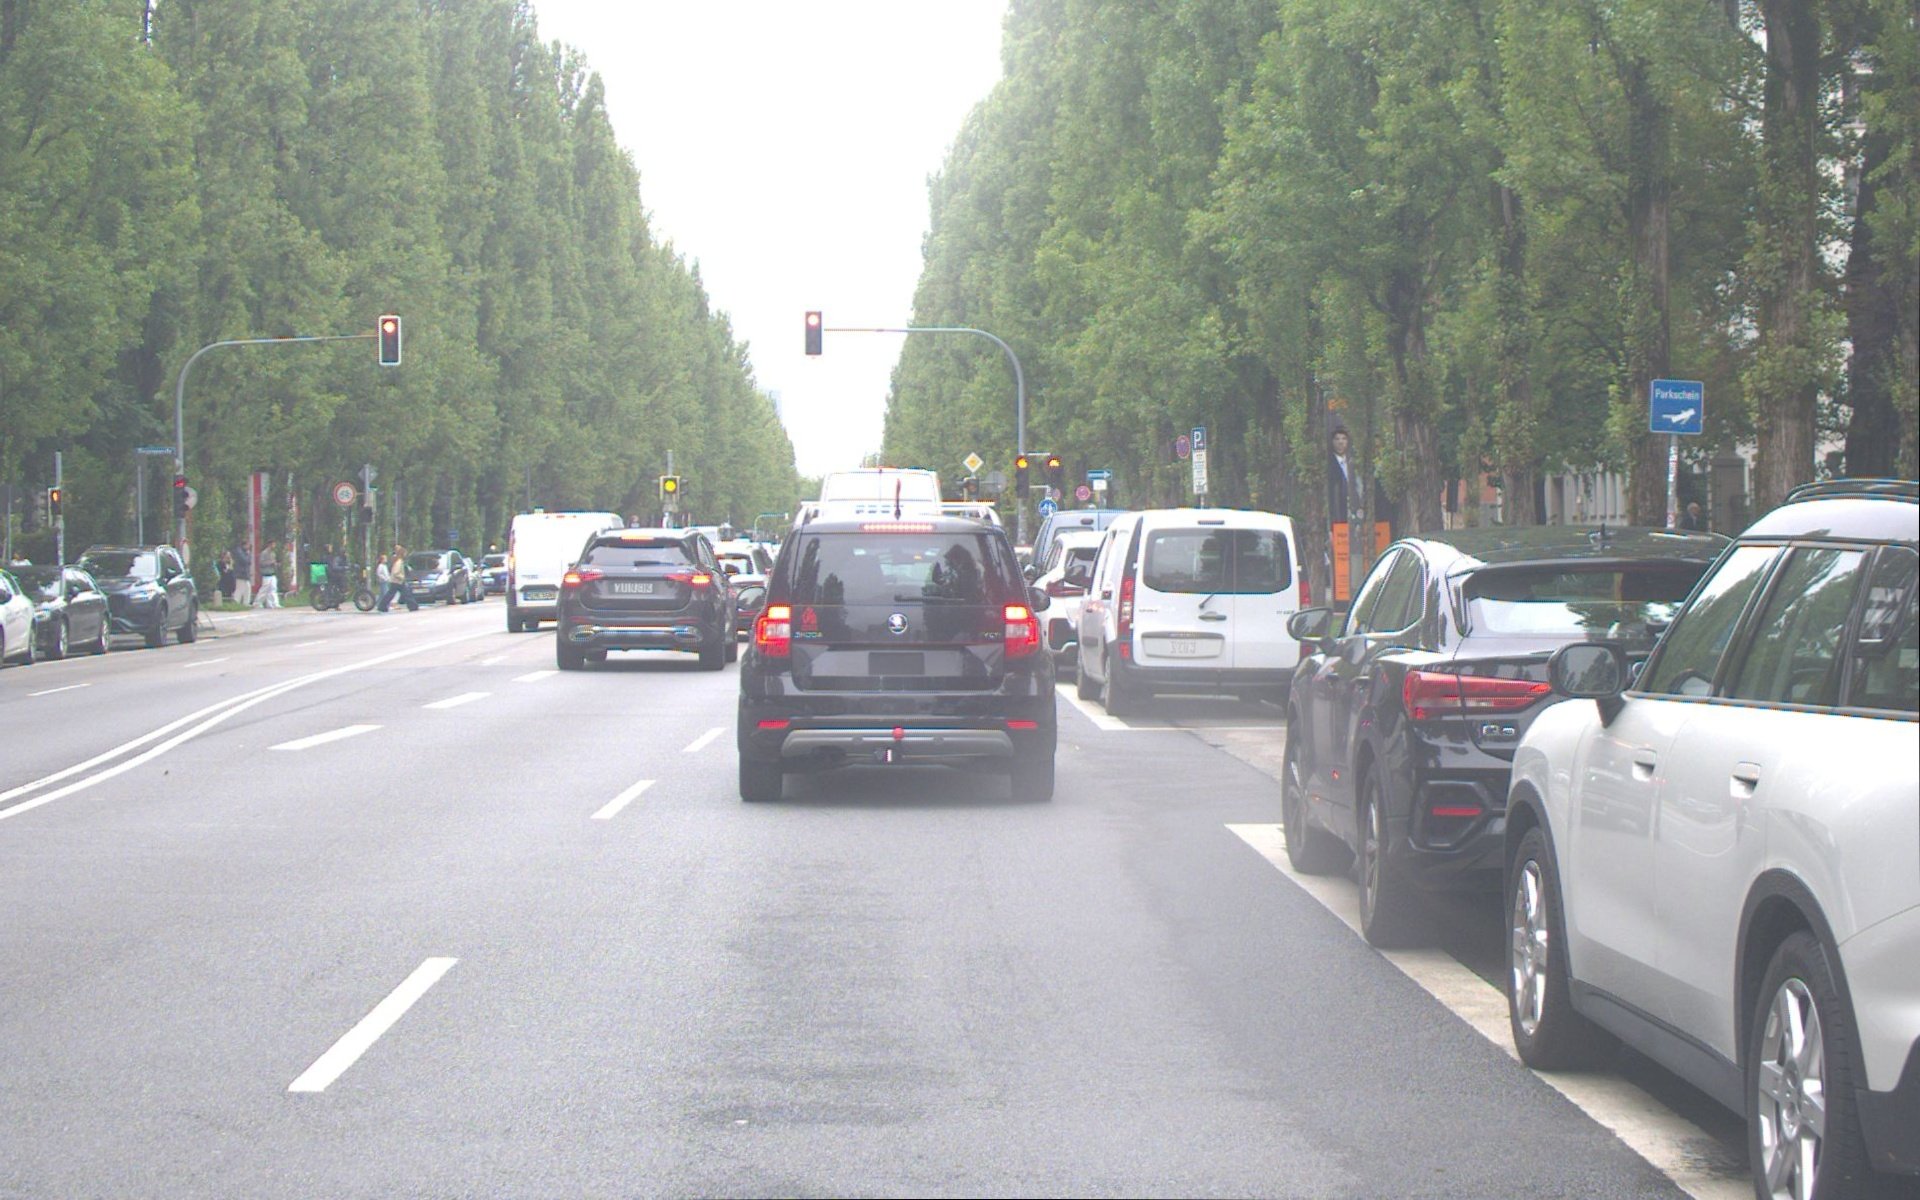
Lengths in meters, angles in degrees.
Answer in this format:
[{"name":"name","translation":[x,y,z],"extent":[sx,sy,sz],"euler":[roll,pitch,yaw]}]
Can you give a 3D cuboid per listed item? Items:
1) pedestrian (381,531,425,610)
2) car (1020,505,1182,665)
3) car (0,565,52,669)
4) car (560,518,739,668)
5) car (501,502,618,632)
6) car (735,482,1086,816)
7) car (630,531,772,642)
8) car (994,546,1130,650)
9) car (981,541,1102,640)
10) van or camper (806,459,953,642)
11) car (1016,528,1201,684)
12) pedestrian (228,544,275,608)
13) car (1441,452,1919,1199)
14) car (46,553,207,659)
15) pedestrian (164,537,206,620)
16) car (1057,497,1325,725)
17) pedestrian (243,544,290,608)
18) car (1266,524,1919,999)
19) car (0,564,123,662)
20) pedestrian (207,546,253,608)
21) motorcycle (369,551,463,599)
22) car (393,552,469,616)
[{"name":"pedestrian","translation":[-14.327,-0.762,88.458],"extent":[0.885,2.007,1.013],"euler":[-1,1,2]},{"name":"car","translation":[1.723,-0.226,43.133],"extent":[1.735,1.888,4.025],"euler":[-1,1,-1]},{"name":"car","translation":[-13.978,0.256,48.255],"extent":[1.623,1.384,4.168],"euler":[-3,1,-5]},{"name":"car","translation":[-3.624,-0.124,40.713],"extent":[1.781,1.614,4.025],"euler":[3,1,-2]},{"name":"car","translation":[-6.719,-0.577,57.949],"extent":[1.781,2.104,4.025],"euler":[0,1,-4]},{"name":"car","translation":[-0.310,0.230,20.543],"extent":[1.855,1.764,4.000],"euler":[1,1,-1]},{"name":"car","translation":[-3.895,-0.236,52.357],"extent":[1.993,1.555,4.001],"euler":[-1,2,-2]},{"name":"car","translation":[1.418,-0.055,49.003],"extent":[1.735,1.382,3.563],"euler":[-1,1,-1]},{"name":"car","translation":[1.262,-0.178,54.507],"extent":[1.735,1.470,3.563],"euler":[-1,1,-1]},{"name":"van or camper","translation":[-1.215,-0.735,50.042],"extent":[1.975,2.539,4.025],"euler":[-1,1,-3]},{"name":"car","translation":[1.582,0.022,37.858],"extent":[1.741,1.587,4.212],"euler":[-1,1,-1]},{"name":"pedestrian","translation":[-18.765,-0.638,91.045],"extent":[0.880,1.649,0.878],"euler":[-2,1,-39]},{"name":"car","translation":[2.432,0.510,8.393],"extent":[1.742,1.670,4.580],"euler":[-1,1,-1]},{"name":"car","translation":[-14.415,0.067,59.685],"extent":[1.849,1.648,4.697],"euler":[-3,1,-4]},{"name":"pedestrian","translation":[-14.903,-0.423,66.102],"extent":[0.660,1.572,0.530],"euler":[-1,1,-1]},{"name":"car","translation":[1.982,0.043,30.654],"extent":[1.851,1.875,4.169],"euler":[-1,1,-3]},{"name":"pedestrian","translation":[-18.213,-0.628,90.318],"extent":[0.880,1.649,0.878],"euler":[-2,1,-39]},{"name":"car","translation":[2.388,0.483,13.552],"extent":[1.880,1.535,4.464],"euler":[-1,1,-1]},{"name":"car","translation":[-14.311,0.184,53.737],"extent":[1.623,1.384,4.167],"euler":[-3,1,-4]},{"name":"pedestrian","translation":[-19.597,-0.623,92.298],"extent":[0.880,1.649,0.878],"euler":[-2,1,-39]},{"name":"motorcycle","translation":[-14.509,-0.664,91.786],"extent":[2.363,1.265,0.930],"euler":[0,1,-1]},{"name":"car","translation":[-15.463,-0.485,100.577],"extent":[1.688,1.776,3.775],"euler":[-1,1,-1]}]
